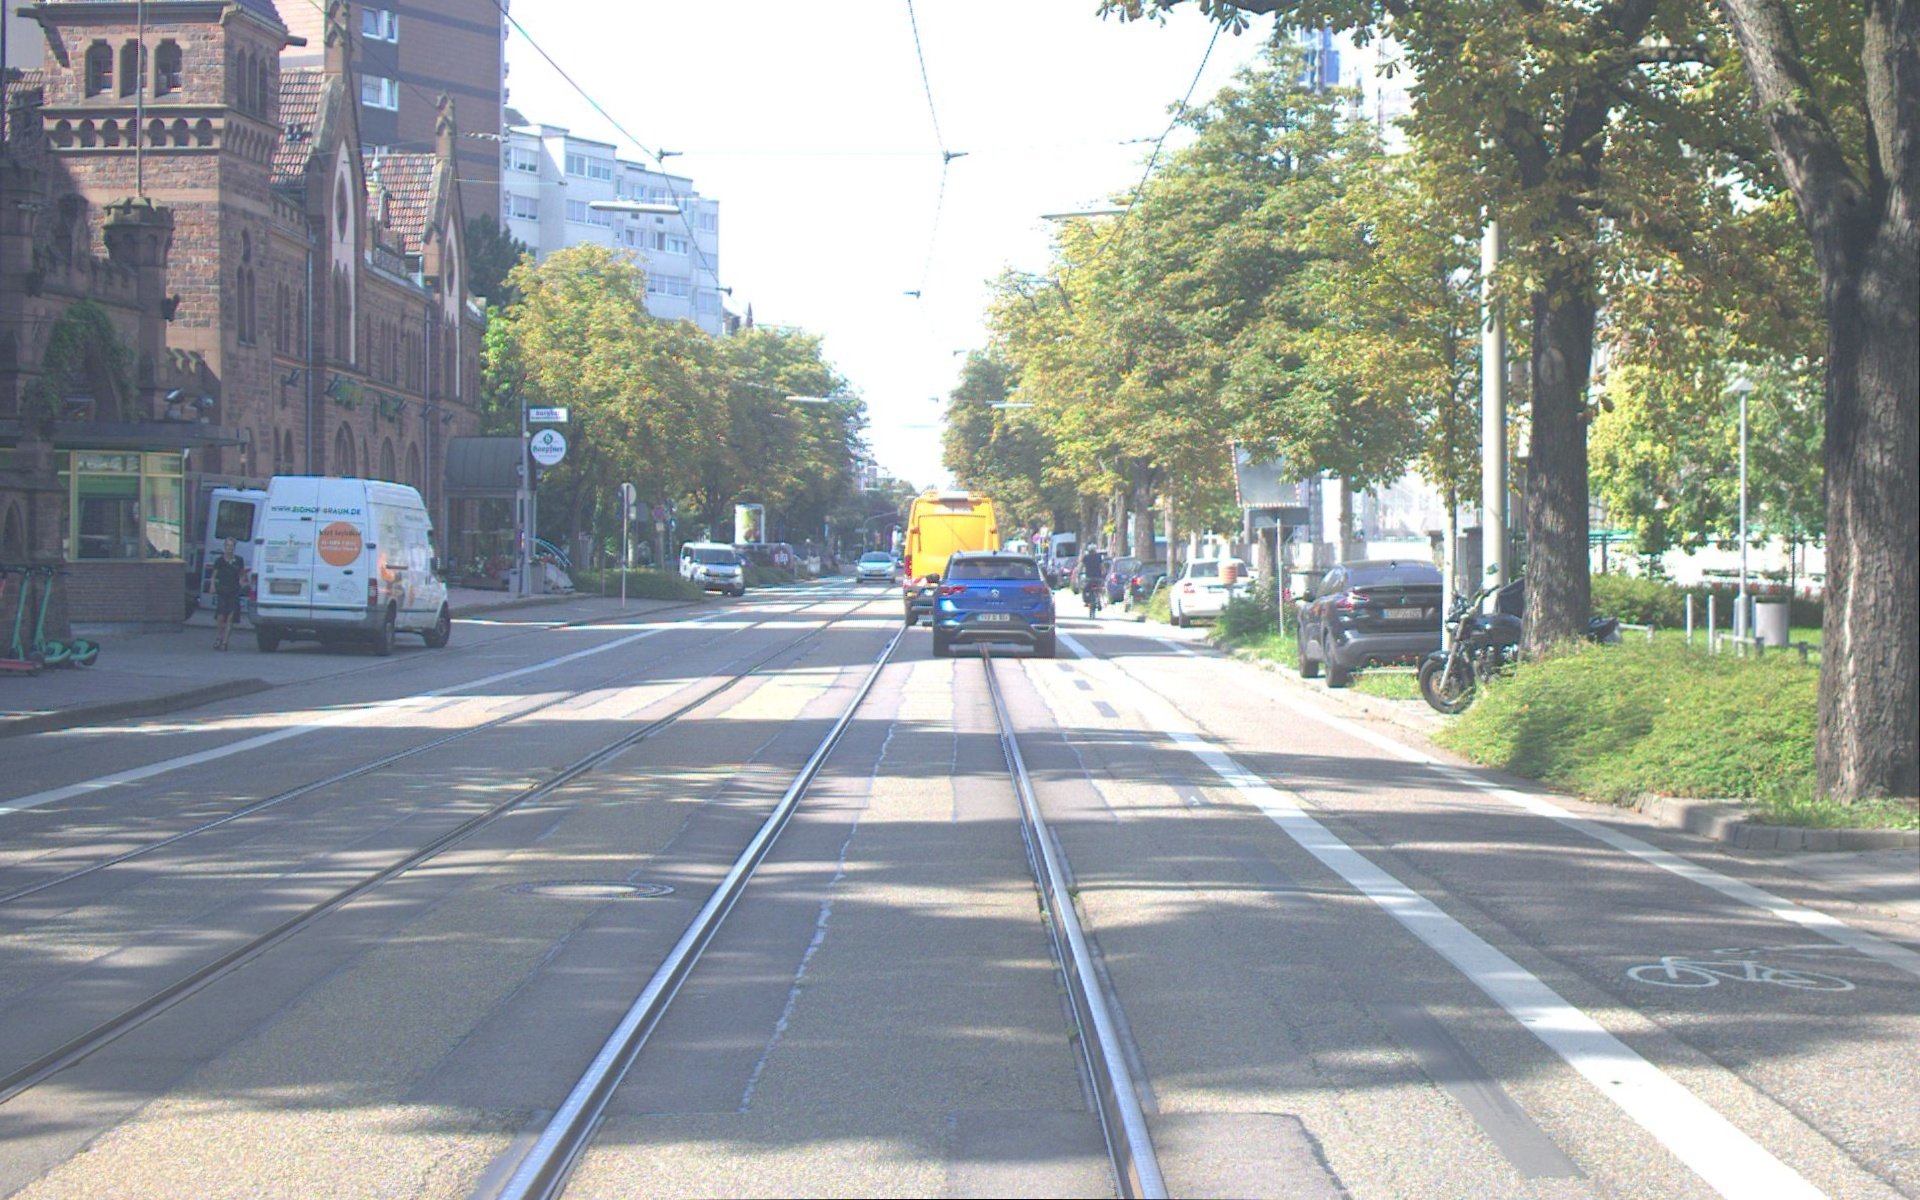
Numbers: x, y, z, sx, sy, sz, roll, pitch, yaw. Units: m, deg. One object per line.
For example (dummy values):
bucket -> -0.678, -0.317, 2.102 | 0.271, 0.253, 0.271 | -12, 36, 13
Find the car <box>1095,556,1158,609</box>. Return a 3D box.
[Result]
car -> 5.031, -0.538, 104.175 | 1.743, 1.550, 4.217 | 0, 1, 1

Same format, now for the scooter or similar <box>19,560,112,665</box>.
scooter or similar -> -10.196, 0.132, 39.213 | 0.340, 1.174, 1.176 | 1, 1, 25

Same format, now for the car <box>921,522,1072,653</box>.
car -> 0.524, -0.214, 51.633 | 2.135, 1.852, 5.568 | 0, 1, 0

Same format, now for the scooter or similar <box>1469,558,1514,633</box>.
scooter or similar -> 9.133, -0.084, 59.132 | 0.556, 1.255, 1.818 | 1, 1, 3

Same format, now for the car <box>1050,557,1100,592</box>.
car -> 4.946, -1.104, 147.889 | 1.908, 1.427, 4.292 | 1, 1, -1

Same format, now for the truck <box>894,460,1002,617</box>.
truck -> -0.237, -1.254, 71.287 | 2.135, 3.114, 6.085 | 0, 1, 0

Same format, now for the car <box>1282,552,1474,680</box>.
car -> 5.205, 0.161, 43.359 | 1.756, 1.510, 4.610 | -1, 1, -1

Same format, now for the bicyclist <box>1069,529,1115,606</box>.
bicyclist -> 3.164, -0.782, 82.272 | 1.031, 1.806, 1.016 | 1, 1, 0

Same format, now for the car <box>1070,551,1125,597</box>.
car -> 5.076, -0.987, 127.366 | 1.740, 1.662, 4.362 | 1, 1, -1

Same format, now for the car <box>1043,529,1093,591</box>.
car -> 4.947, -1.850, 158.475 | 1.993, 2.746, 5.761 | 1, 1, -1

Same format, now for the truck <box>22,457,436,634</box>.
truck -> -12.208, -0.944, 57.627 | 6.322, 2.529, 2.130 | 4, 2, 5

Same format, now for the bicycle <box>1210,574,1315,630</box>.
bicycle -> 5.411, 0.035, 61.481 | 1.812, 0.955, 0.558 | 1, 1, 0

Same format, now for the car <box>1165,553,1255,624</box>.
car -> 5.370, -0.261, 74.239 | 1.659, 1.476, 4.217 | 0, 1, 1

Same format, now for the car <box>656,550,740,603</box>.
car -> -9.236, -0.839, 120.943 | 1.746, 1.790, 4.001 | 1, 1, -23

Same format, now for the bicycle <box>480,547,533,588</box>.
bicycle -> -13.263, -0.950, 100.600 | 1.451, 1.089, 0.399 | 4, 0, -4

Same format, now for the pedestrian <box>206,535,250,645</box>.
pedestrian -> -10.742, -0.152, 50.453 | 0.497, 1.593, 0.552 | 1, 1, 1

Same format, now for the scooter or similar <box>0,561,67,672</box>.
scooter or similar -> -10.122, 0.166, 36.906 | 0.340, 1.174, 1.176 | 1, 1, 25

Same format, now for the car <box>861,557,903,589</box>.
car -> -3.714, -1.313, 163.872 | 1.847, 1.486, 4.867 | 0, 1, 1

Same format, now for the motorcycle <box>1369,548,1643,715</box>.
motorcycle -> 5.177, 0.278, 32.693 | 2.452, 1.510, 0.851 | 1, 1, 39

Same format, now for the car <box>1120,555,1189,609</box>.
car -> 5.214, -0.490, 92.622 | 1.659, 1.403, 4.217 | 0, 1, 1

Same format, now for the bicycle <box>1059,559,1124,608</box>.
bicycle -> 3.123, -0.403, 82.300 | 1.401, 1.130, 4.000 | 1, 1, 0

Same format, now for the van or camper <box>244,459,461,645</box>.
van or camper -> -9.228, -0.739, 52.757 | 2.113, 2.666, 5.955 | 1, 1, 1

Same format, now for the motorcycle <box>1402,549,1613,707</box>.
motorcycle -> 5.444, 0.258, 34.392 | 0.850, 1.510, 2.456 | 1, 1, -24

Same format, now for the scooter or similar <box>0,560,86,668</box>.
scooter or similar -> -10.211, 0.148, 38.079 | 0.340, 1.174, 1.176 | 1, 1, 25
